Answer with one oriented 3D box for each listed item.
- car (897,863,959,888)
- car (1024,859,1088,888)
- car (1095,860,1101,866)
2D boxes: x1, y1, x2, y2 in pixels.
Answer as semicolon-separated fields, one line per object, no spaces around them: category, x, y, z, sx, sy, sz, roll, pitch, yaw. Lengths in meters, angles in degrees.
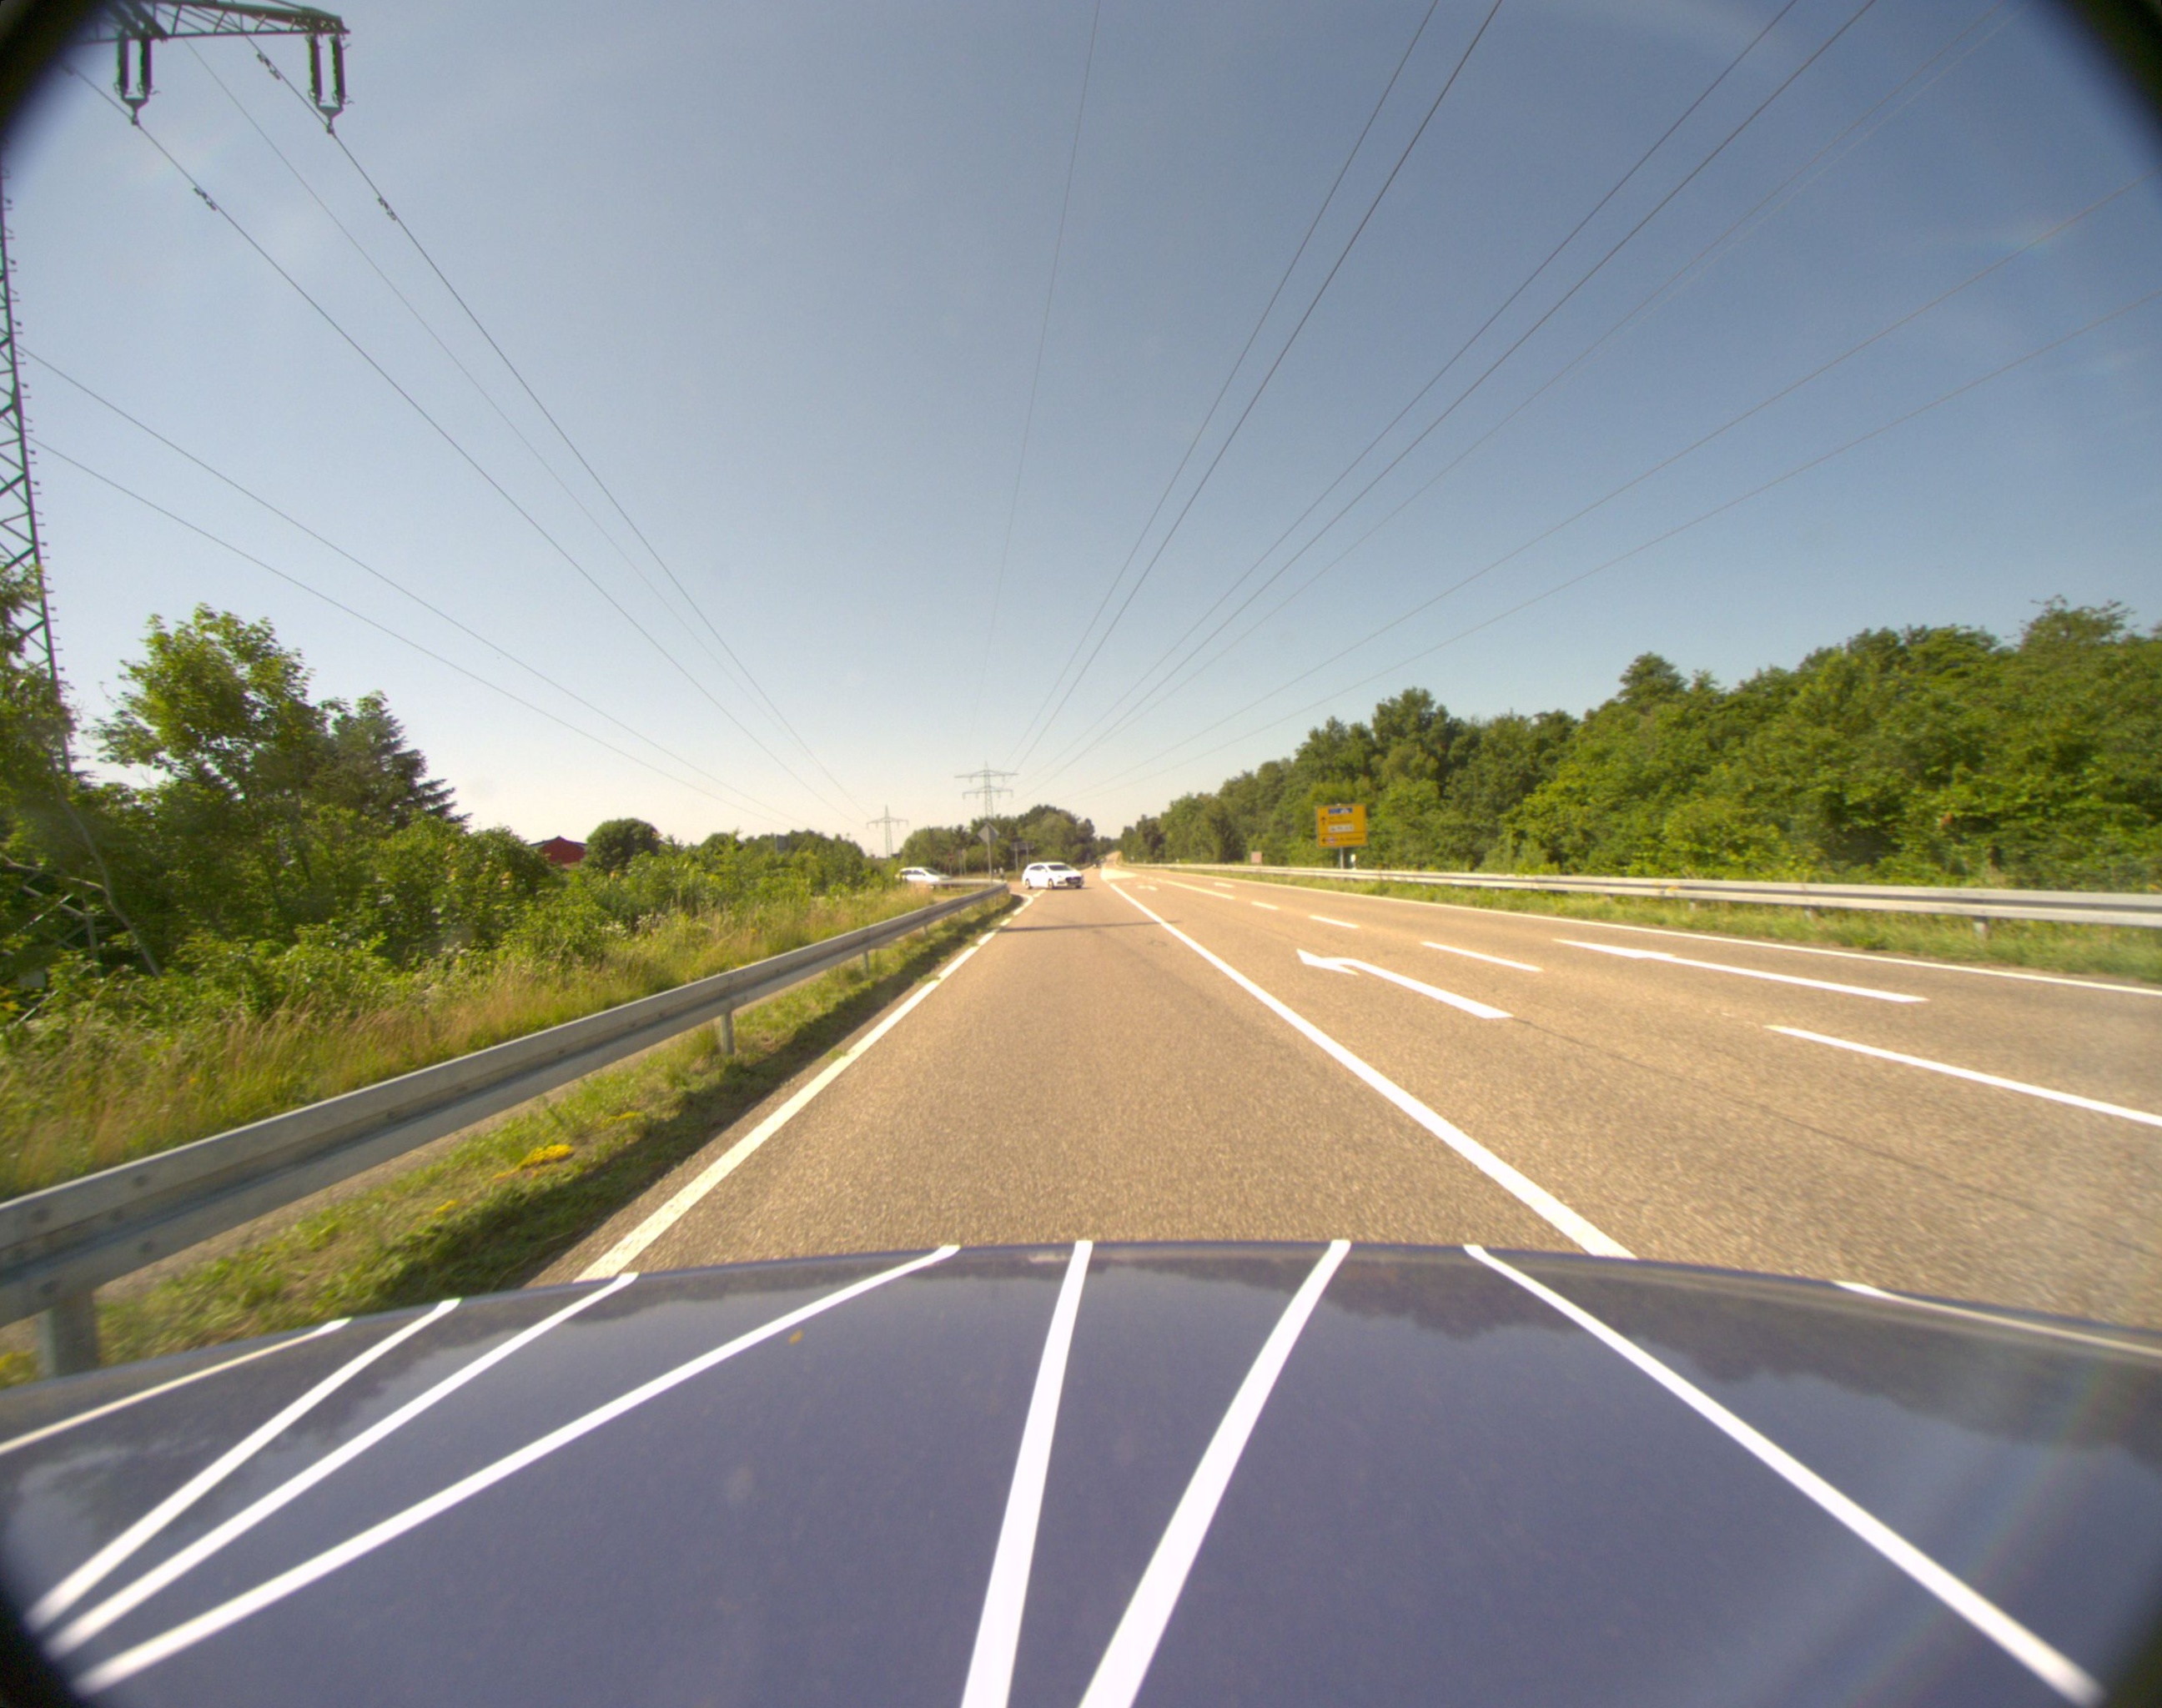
car;-10.016;1.430;49.660;3.653;1.460;1.552;-2;0;21
car;-1.457;1.084;42.396;1.687;1.472;4.464;-3;0;-29
car;3.942;2.119;177.516;1.511;1.237;3.074;-2;0;1
